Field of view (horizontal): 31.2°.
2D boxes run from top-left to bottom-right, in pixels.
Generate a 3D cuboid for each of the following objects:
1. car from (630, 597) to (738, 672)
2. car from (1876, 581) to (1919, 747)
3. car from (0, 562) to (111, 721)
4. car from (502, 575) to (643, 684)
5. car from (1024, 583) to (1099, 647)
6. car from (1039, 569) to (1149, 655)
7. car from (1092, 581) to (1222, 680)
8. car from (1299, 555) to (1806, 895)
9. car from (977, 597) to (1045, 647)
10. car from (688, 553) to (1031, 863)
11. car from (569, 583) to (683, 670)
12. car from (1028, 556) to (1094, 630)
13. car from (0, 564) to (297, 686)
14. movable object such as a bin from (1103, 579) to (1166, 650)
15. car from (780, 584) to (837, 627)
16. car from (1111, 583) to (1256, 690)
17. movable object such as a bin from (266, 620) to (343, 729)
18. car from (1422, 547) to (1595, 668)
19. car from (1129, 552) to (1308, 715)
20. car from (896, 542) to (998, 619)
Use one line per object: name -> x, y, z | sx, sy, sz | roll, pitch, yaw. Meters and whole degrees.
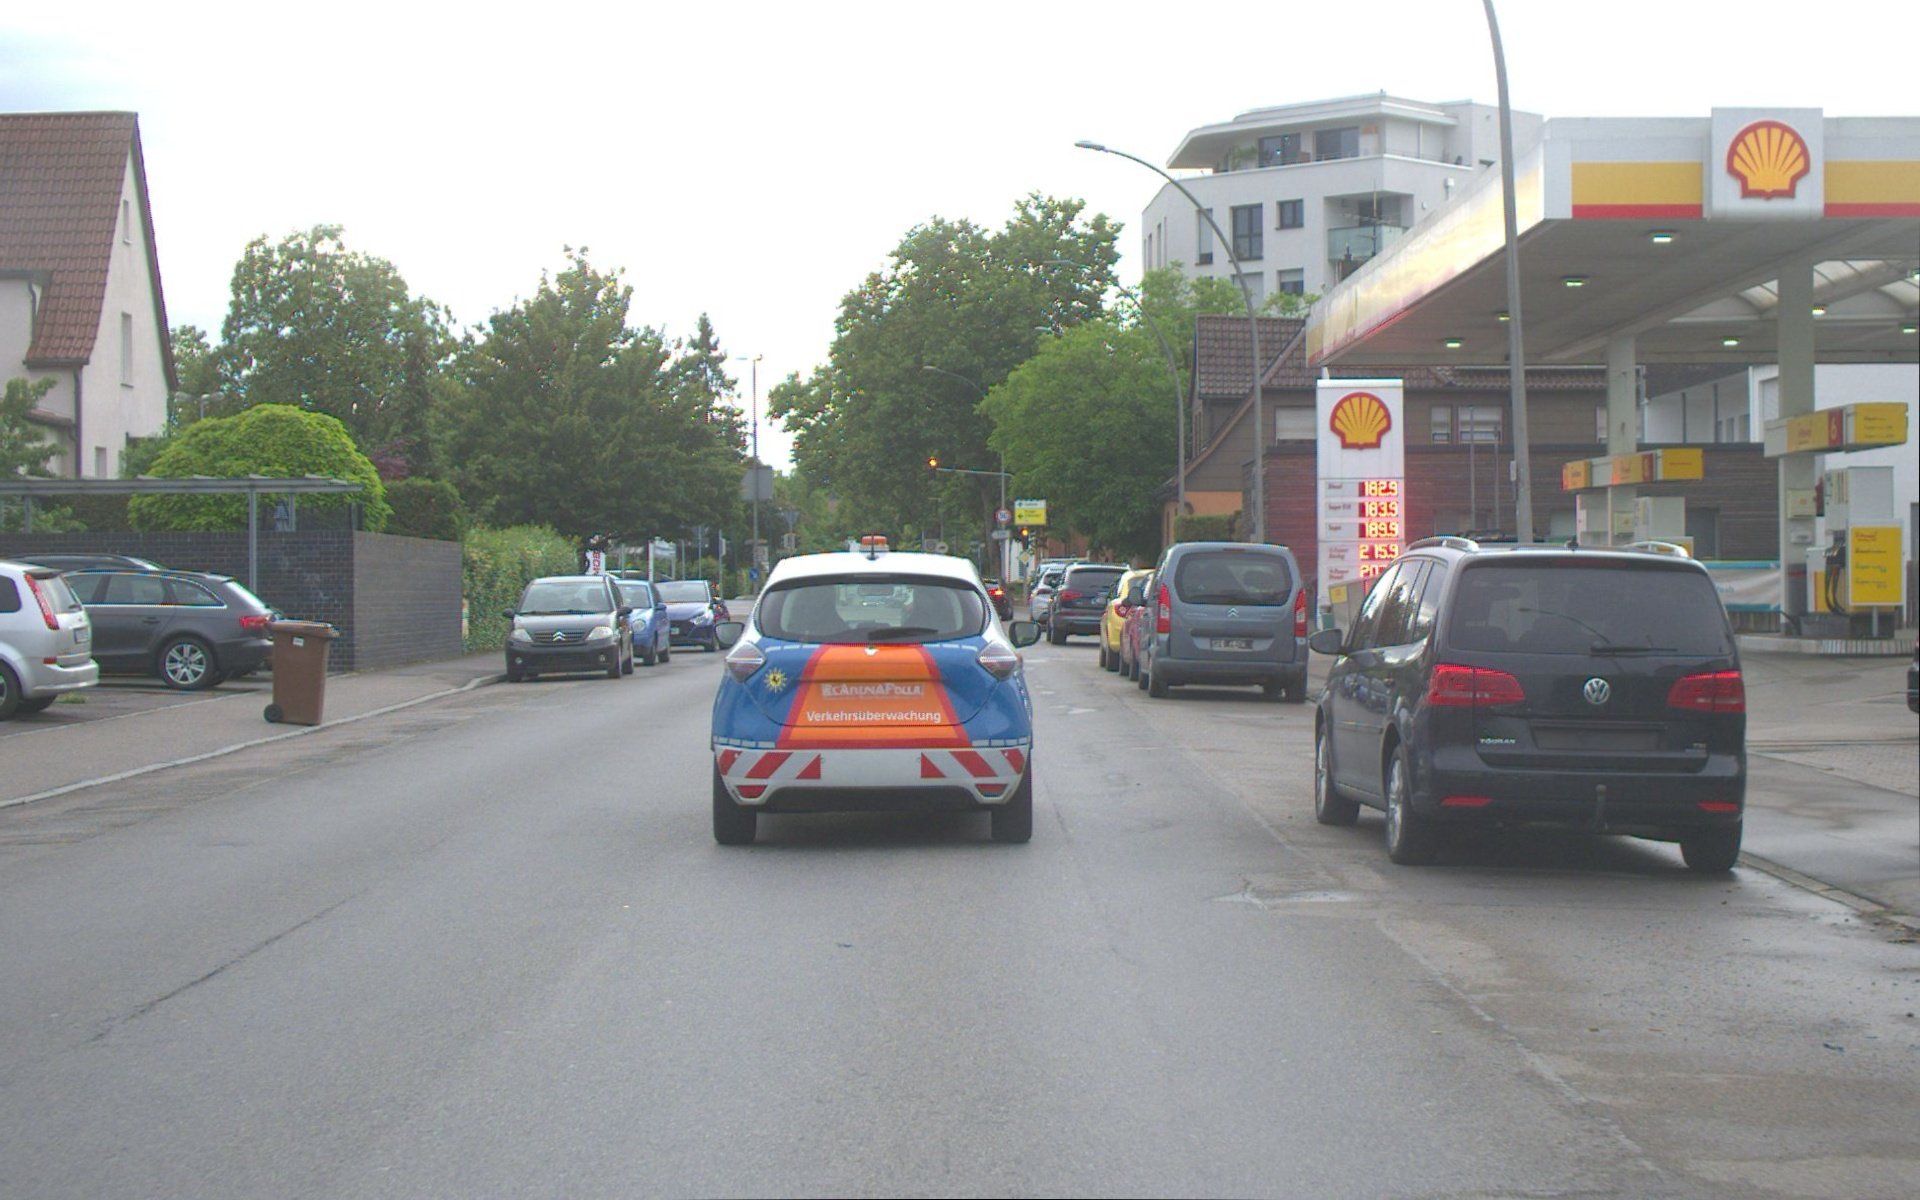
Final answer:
car -> -5.506, 0.666, 68.968 | 1.807, 1.398, 3.944 | -2, 0, 0
car -> 9.668, 0.514, 29.563 | 1.779, 1.370, 3.990 | 0, 1, 43
car -> -10.531, 0.393, 33.621 | 4.083, 1.508, 1.884 | 0, 1, -5
car -> -5.666, 0.411, 50.583 | 1.608, 1.501, 3.707 | -2, 0, 0
car -> 2.710, 0.390, 92.871 | 1.865, 1.659, 4.320 | 0, 0, 0
car -> 2.761, 0.225, 71.839 | 2.091, 1.656, 4.559 | 1, 1, 0
car -> 2.852, 0.417, 50.437 | 1.656, 1.397, 3.801 | 0, 0, 0
car -> 3.006, 0.568, 18.304 | 1.993, 1.590, 4.000 | -1, 1, 0
car -> 1.565, 0.670, 106.515 | 1.794, 1.423, 4.001 | 1, 1, -3
car -> -0.516, 0.526, 19.675 | 1.746, 1.575, 4.000 | -1, 1, 0
car -> -5.658, 0.422, 58.580 | 1.546, 1.398, 3.597 | -2, 0, 0
car -> 2.942, -0.237, 99.054 | 1.778, 2.022, 4.753 | 1, 1, 3
car -> -10.194, 0.285, 41.756 | 4.083, 1.409, 1.714 | 1, 1, -7
movable object such as a bin -> 3.471, 0.287, 68.423 | 1.126, 1.384, 1.504 | 0, 0, -2
car -> -5.059, 0.172, 115.064 | 1.626, 1.428, 3.683 | 0, 0, 2
car -> 2.956, 0.461, 46.155 | 1.656, 1.372, 4.025 | 0, 0, 0
movable object such as a bin -> -6.836, 0.773, 35.850 | 0.595, 1.053, 0.687 | 5, 2, 0
car -> 8.331, 0.096, 52.531 | 1.819, 1.753, 4.000 | -1, 0, -3
car -> 2.960, 0.355, 40.088 | 1.656, 1.732, 4.444 | 2, 0, 0
car -> -0.258, -0.444, 74.615 | 1.994, 1.568, 4.000 | 1, 1, 3
